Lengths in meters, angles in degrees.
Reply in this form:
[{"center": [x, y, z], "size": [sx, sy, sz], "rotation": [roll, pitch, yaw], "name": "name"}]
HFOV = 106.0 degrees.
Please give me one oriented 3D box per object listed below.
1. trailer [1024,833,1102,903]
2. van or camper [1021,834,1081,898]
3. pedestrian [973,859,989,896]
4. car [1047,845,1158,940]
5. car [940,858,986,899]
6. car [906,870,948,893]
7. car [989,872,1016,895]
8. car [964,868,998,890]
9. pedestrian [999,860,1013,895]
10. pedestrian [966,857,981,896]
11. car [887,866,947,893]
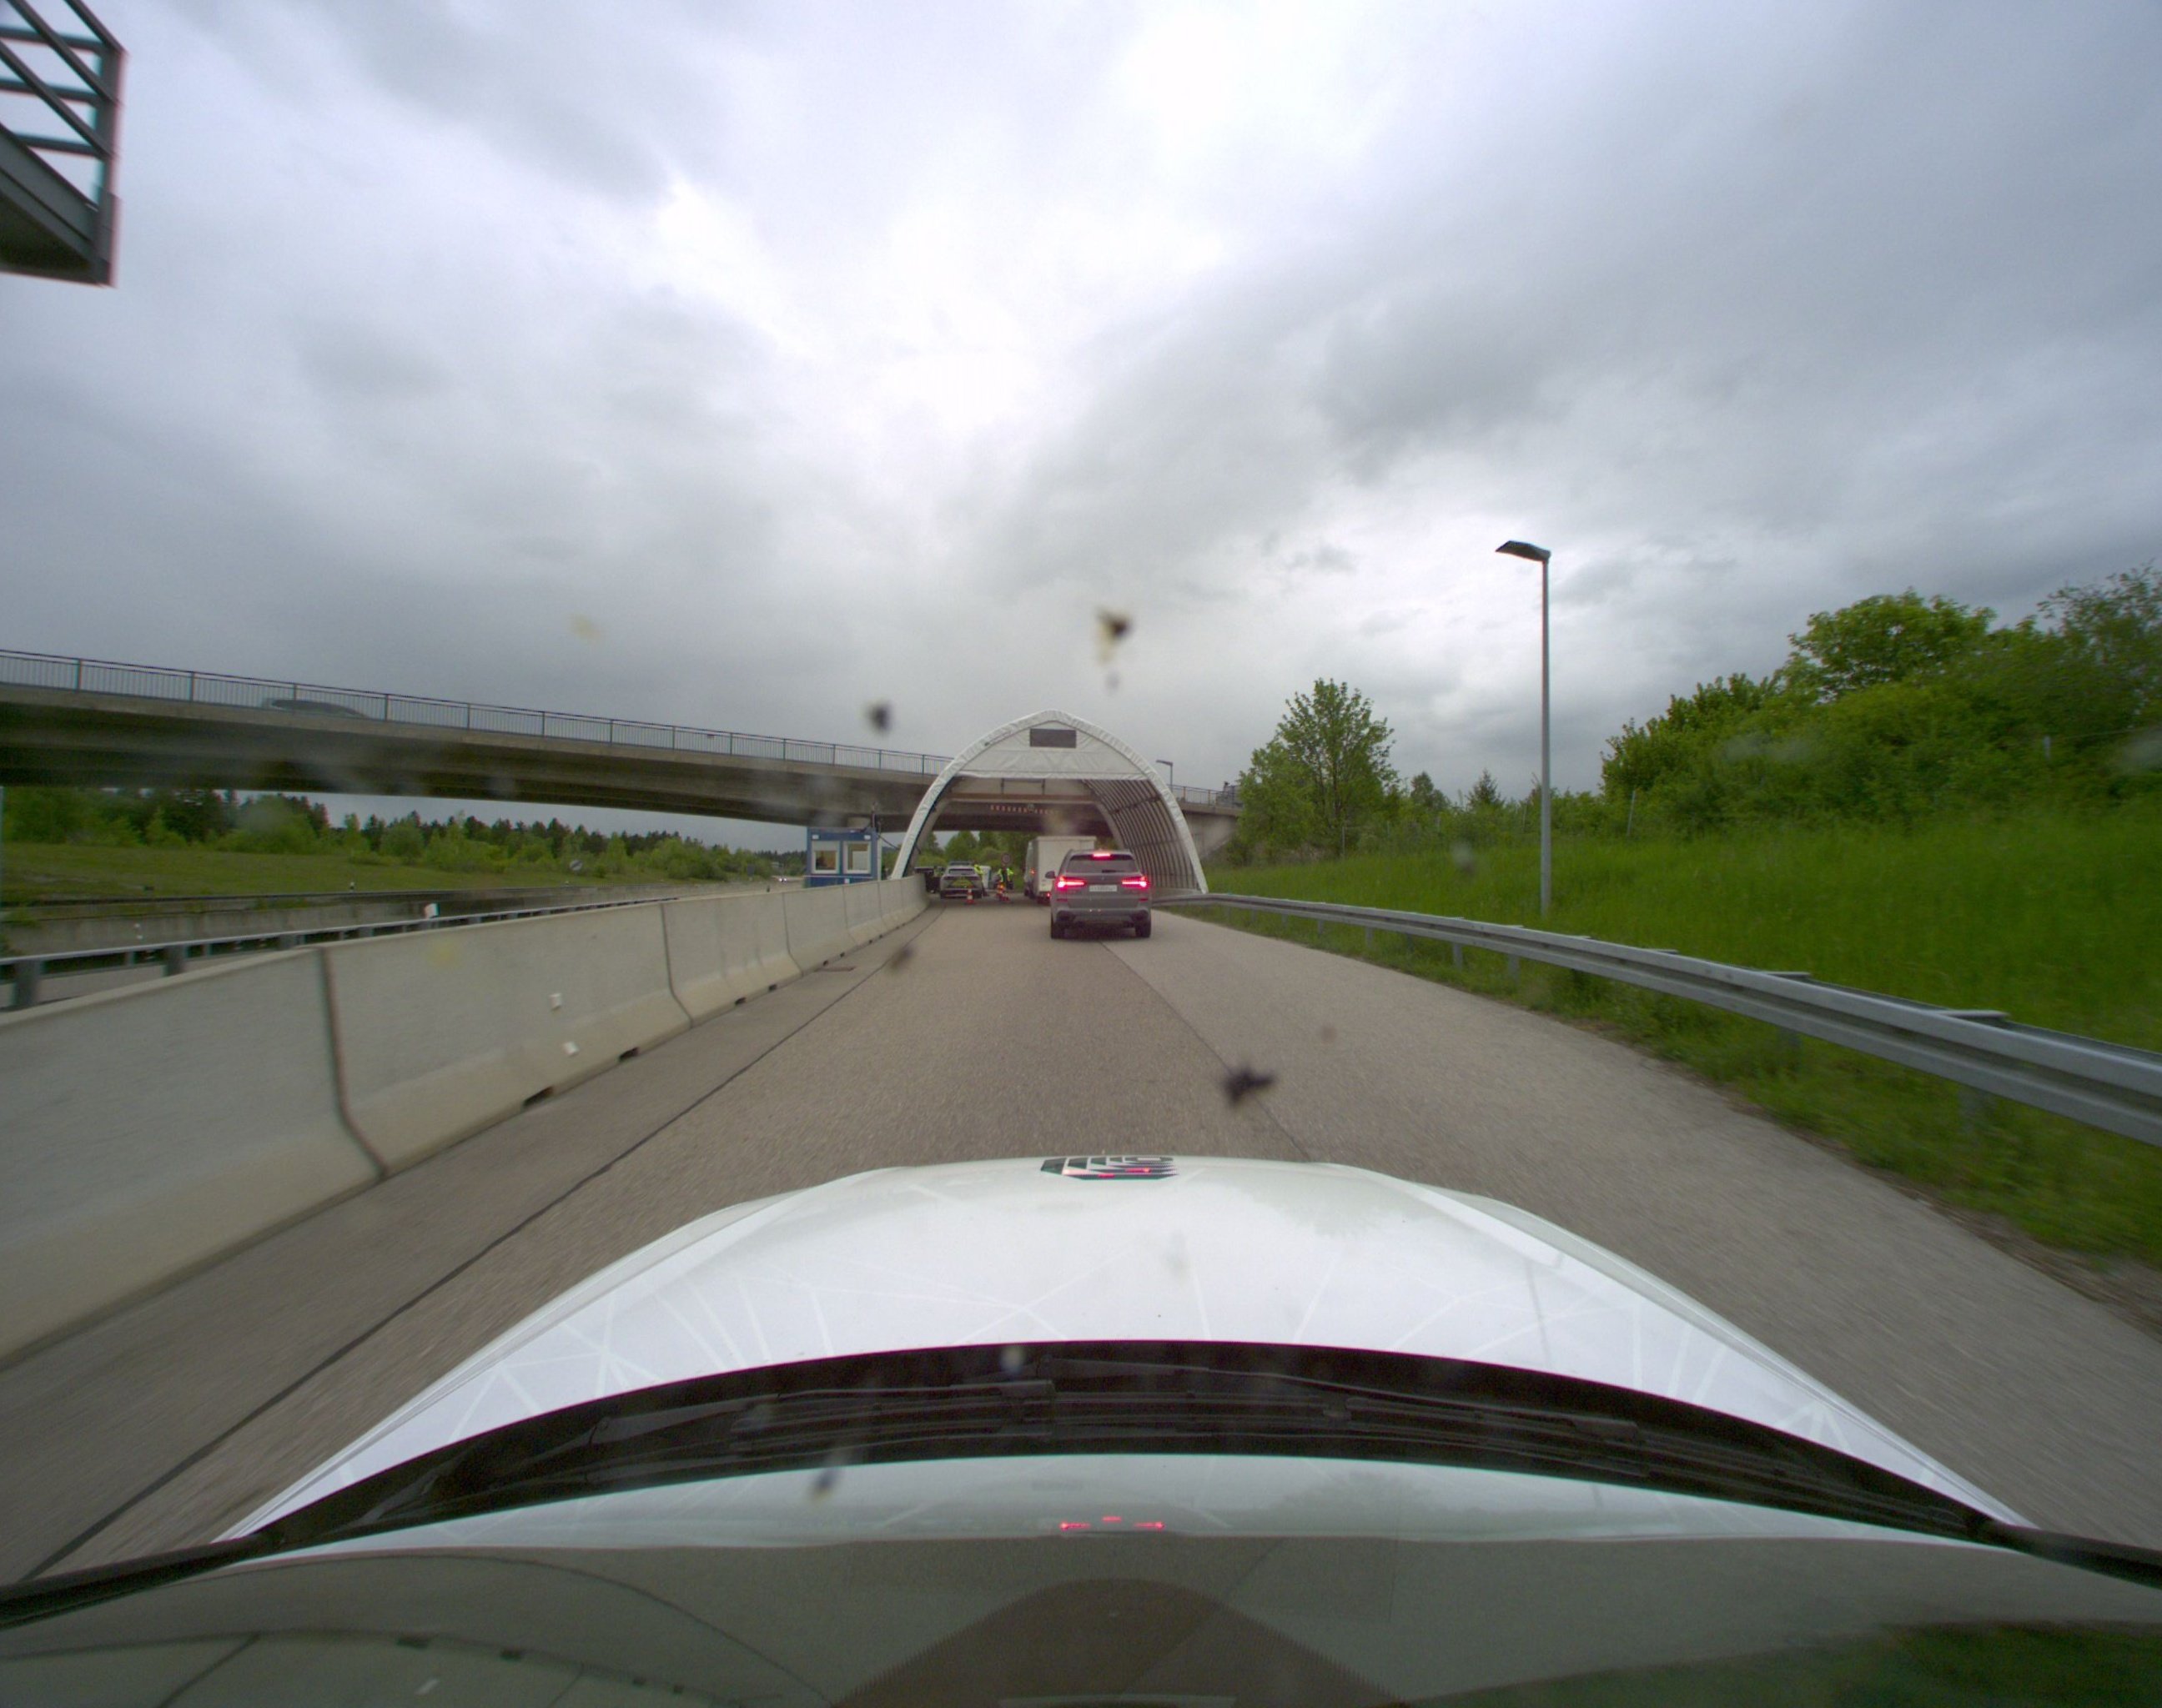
[{"center": [-0.844, 0.605, 31.745], "size": [2.277, 2.431, 6.798], "rotation": [-1, -2, -8], "name": "trailer"}, {"center": [-1.513, 0.611, 38.008], "size": [2.156, 2.764, 5.853], "rotation": [-1, -2, -8], "name": "van or camper"}, {"center": [-4.992, 1.165, 40.583], "size": [0.720, 1.776, 0.688], "rotation": [-1, -2, -9], "name": "pedestrian"}, {"center": [0.322, 0.760, 17.067], "size": [1.989, 1.720, 3.994], "rotation": [-1, -2, -3], "name": "car"}, {"center": [-5.572, 1.135, 38.185], "size": [1.993, 1.772, 3.753], "rotation": [-1, -1, -9], "name": "car"}, {"center": [-10.091, 1.799, 53.251], "size": [1.526, 1.442, 3.279], "rotation": [0, -2, -35], "name": "car"}, {"center": [-6.812, 2.496, 70.100], "size": [1.706, 1.854, 3.980], "rotation": [-1, -1, -14], "name": "car"}, {"center": [-9.820, 2.422, 79.564], "size": [2.005, 2.014, 3.963], "rotation": [0, -2, -28], "name": "car"}, {"center": [-3.823, 1.190, 41.514], "size": [0.648, 1.776, 0.603], "rotation": [-1, -2, -11], "name": "pedestrian"}, {"center": [-5.482, 1.147, 41.576], "size": [0.720, 1.946, 0.688], "rotation": [-1, -2, -9], "name": "pedestrian"}, {"center": [-12.214, 1.887, 60.735], "size": [3.967, 1.854, 1.712], "rotation": [-2, -1, 6], "name": "car"}]
